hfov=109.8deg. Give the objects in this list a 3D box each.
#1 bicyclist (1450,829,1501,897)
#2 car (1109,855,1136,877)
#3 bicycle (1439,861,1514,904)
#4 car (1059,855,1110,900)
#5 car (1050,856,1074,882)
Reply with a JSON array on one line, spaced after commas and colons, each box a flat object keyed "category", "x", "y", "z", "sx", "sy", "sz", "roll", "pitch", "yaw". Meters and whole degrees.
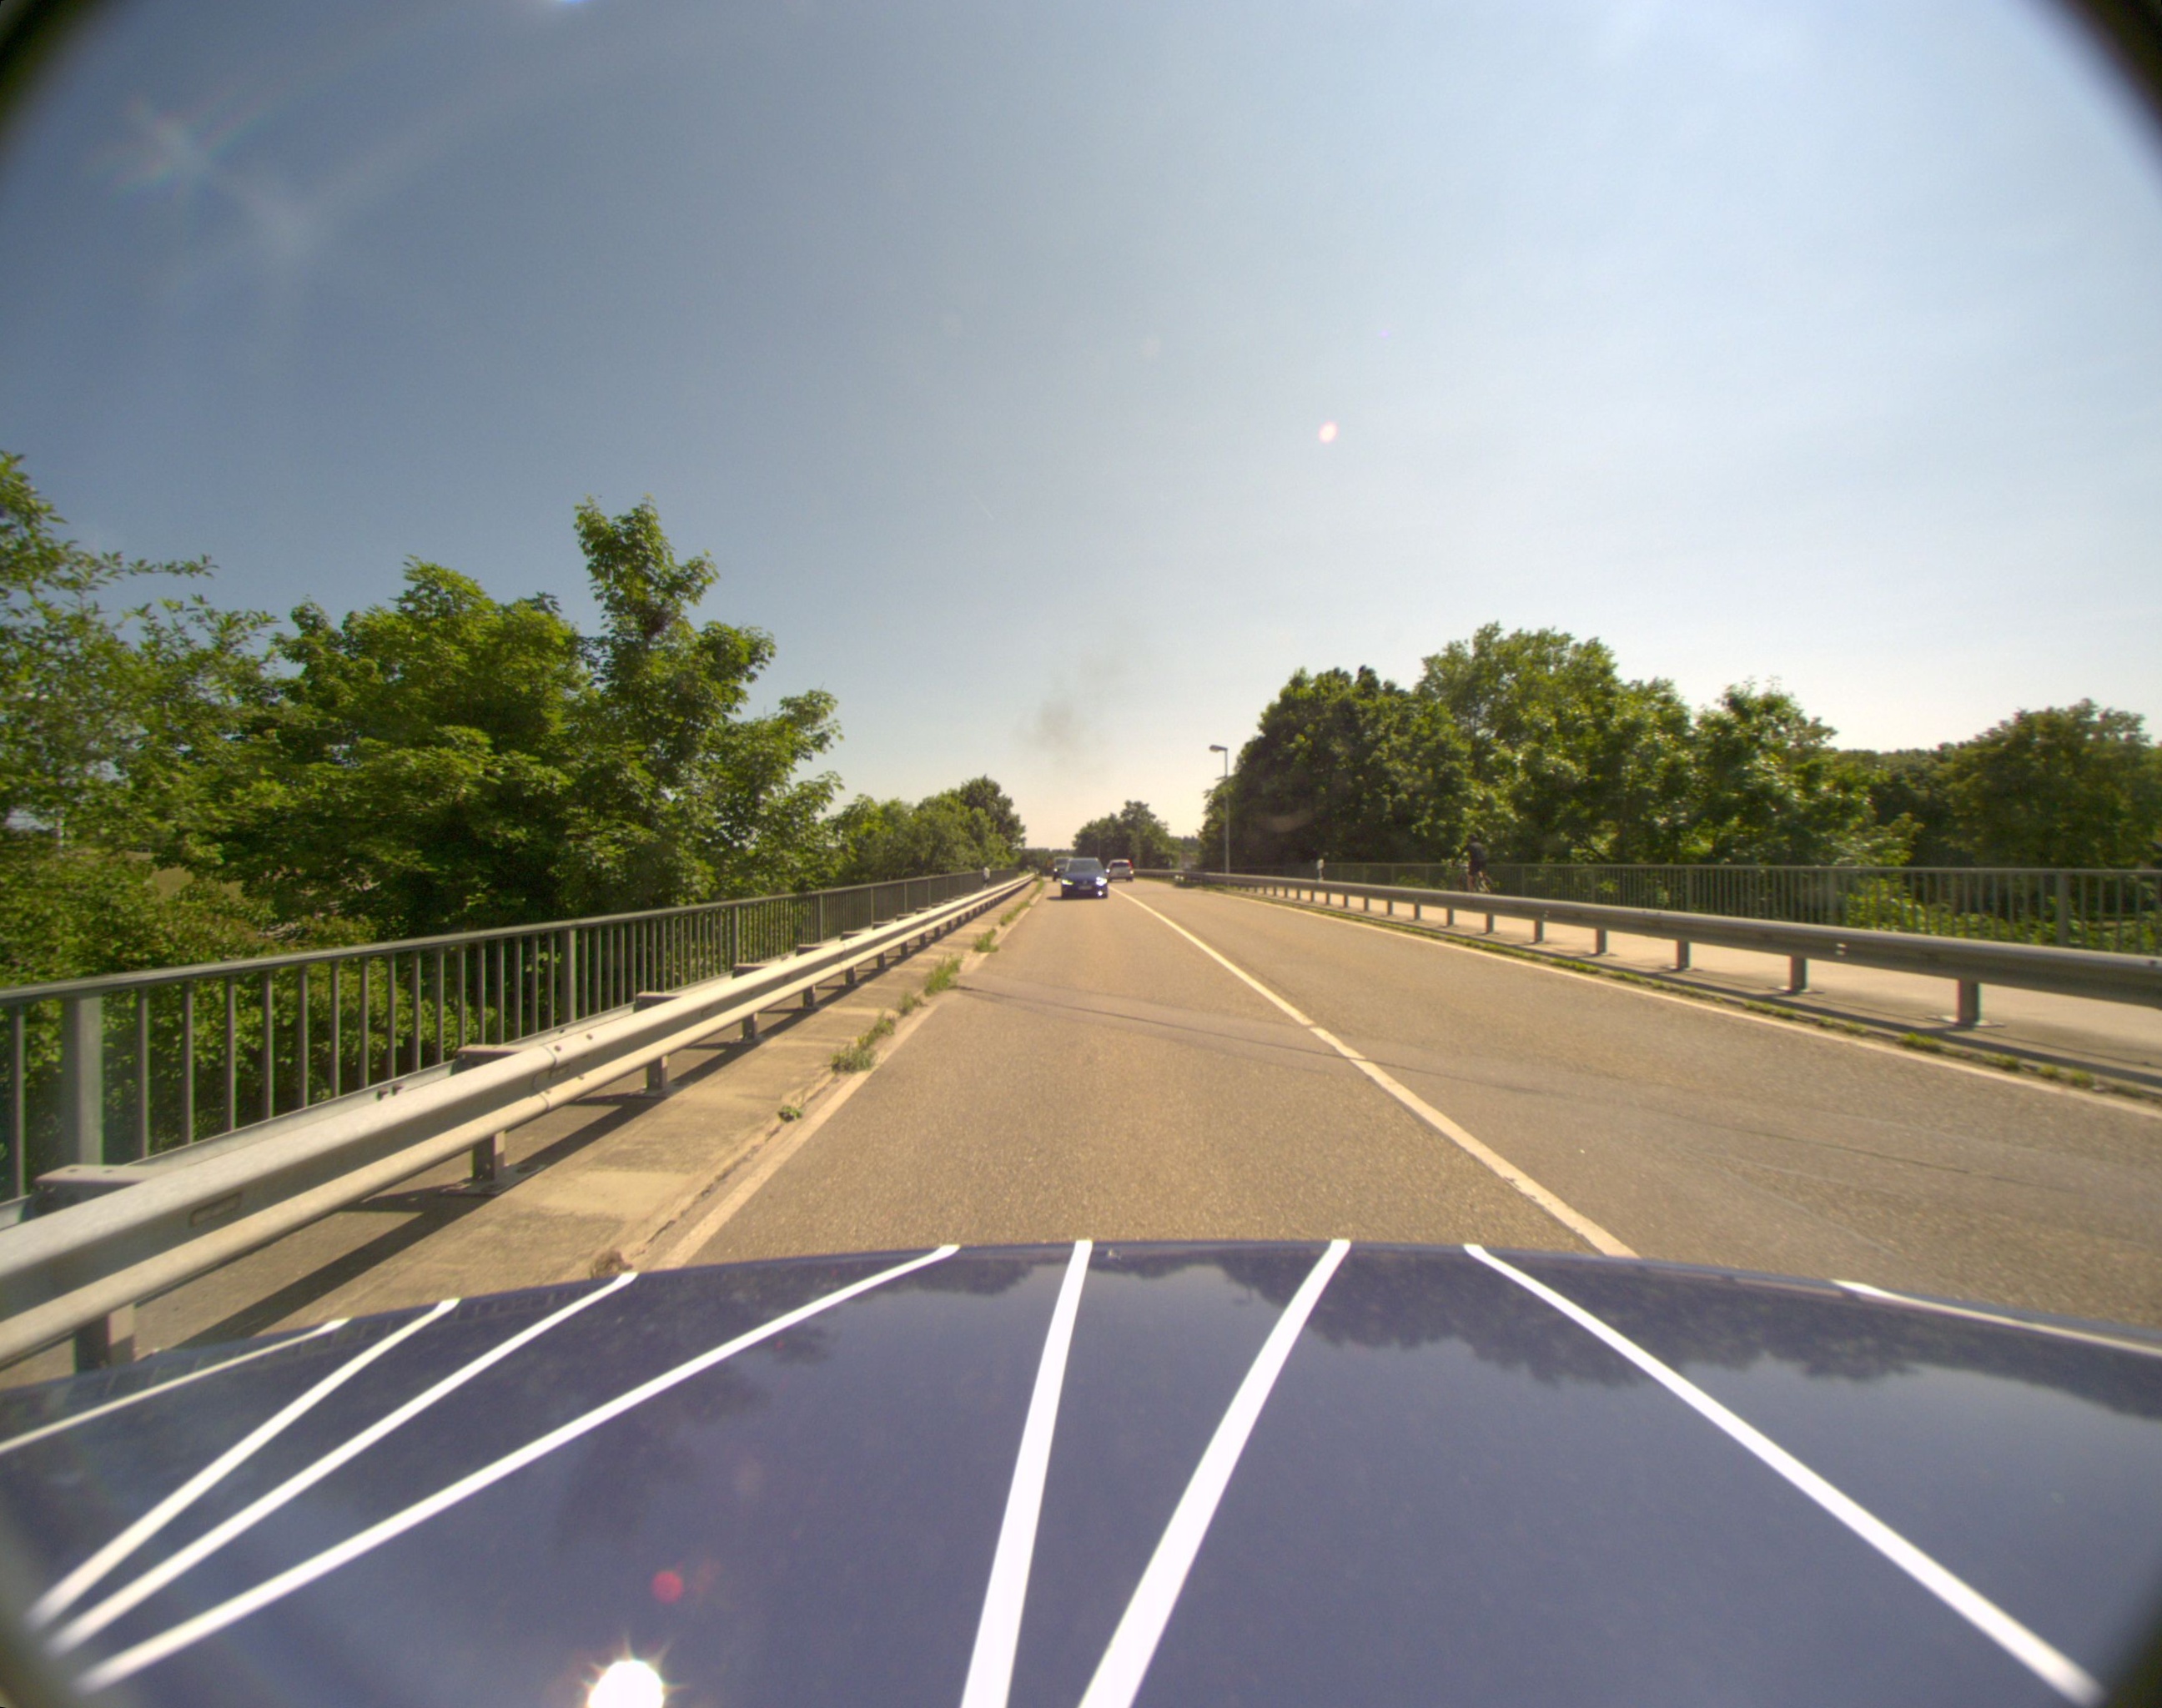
[{"category": "bicyclist", "x": 9.721, "y": 0.227, "z": 18.746, "sx": 0.767, "sy": 1.624, "sz": 0.895, "roll": -1, "pitch": 0, "yaw": -3}, {"category": "car", "x": 2.888, "y": 0.833, "z": 53.403, "sx": 1.672, "sy": 1.508, "sz": 3.665, "roll": -1, "pitch": 0, "yaw": -1}, {"category": "bicycle", "x": 9.751, "y": 0.684, "z": 18.817, "sx": 0.679, "sy": 0.995, "sz": 2.118, "roll": -1, "pitch": 0, "yaw": -2}, {"category": "car", "x": 0.165, "y": 0.863, "z": 29.966, "sx": 1.828, "sy": 1.591, "sz": 4.196, "roll": -2, "pitch": 0, "yaw": 1}, {"category": "car", "x": -1.498, "y": 1.189, "z": 62.030, "sx": 1.779, "sy": 2.007, "sz": 4.000, "roll": -2, "pitch": 0, "yaw": 0}]
